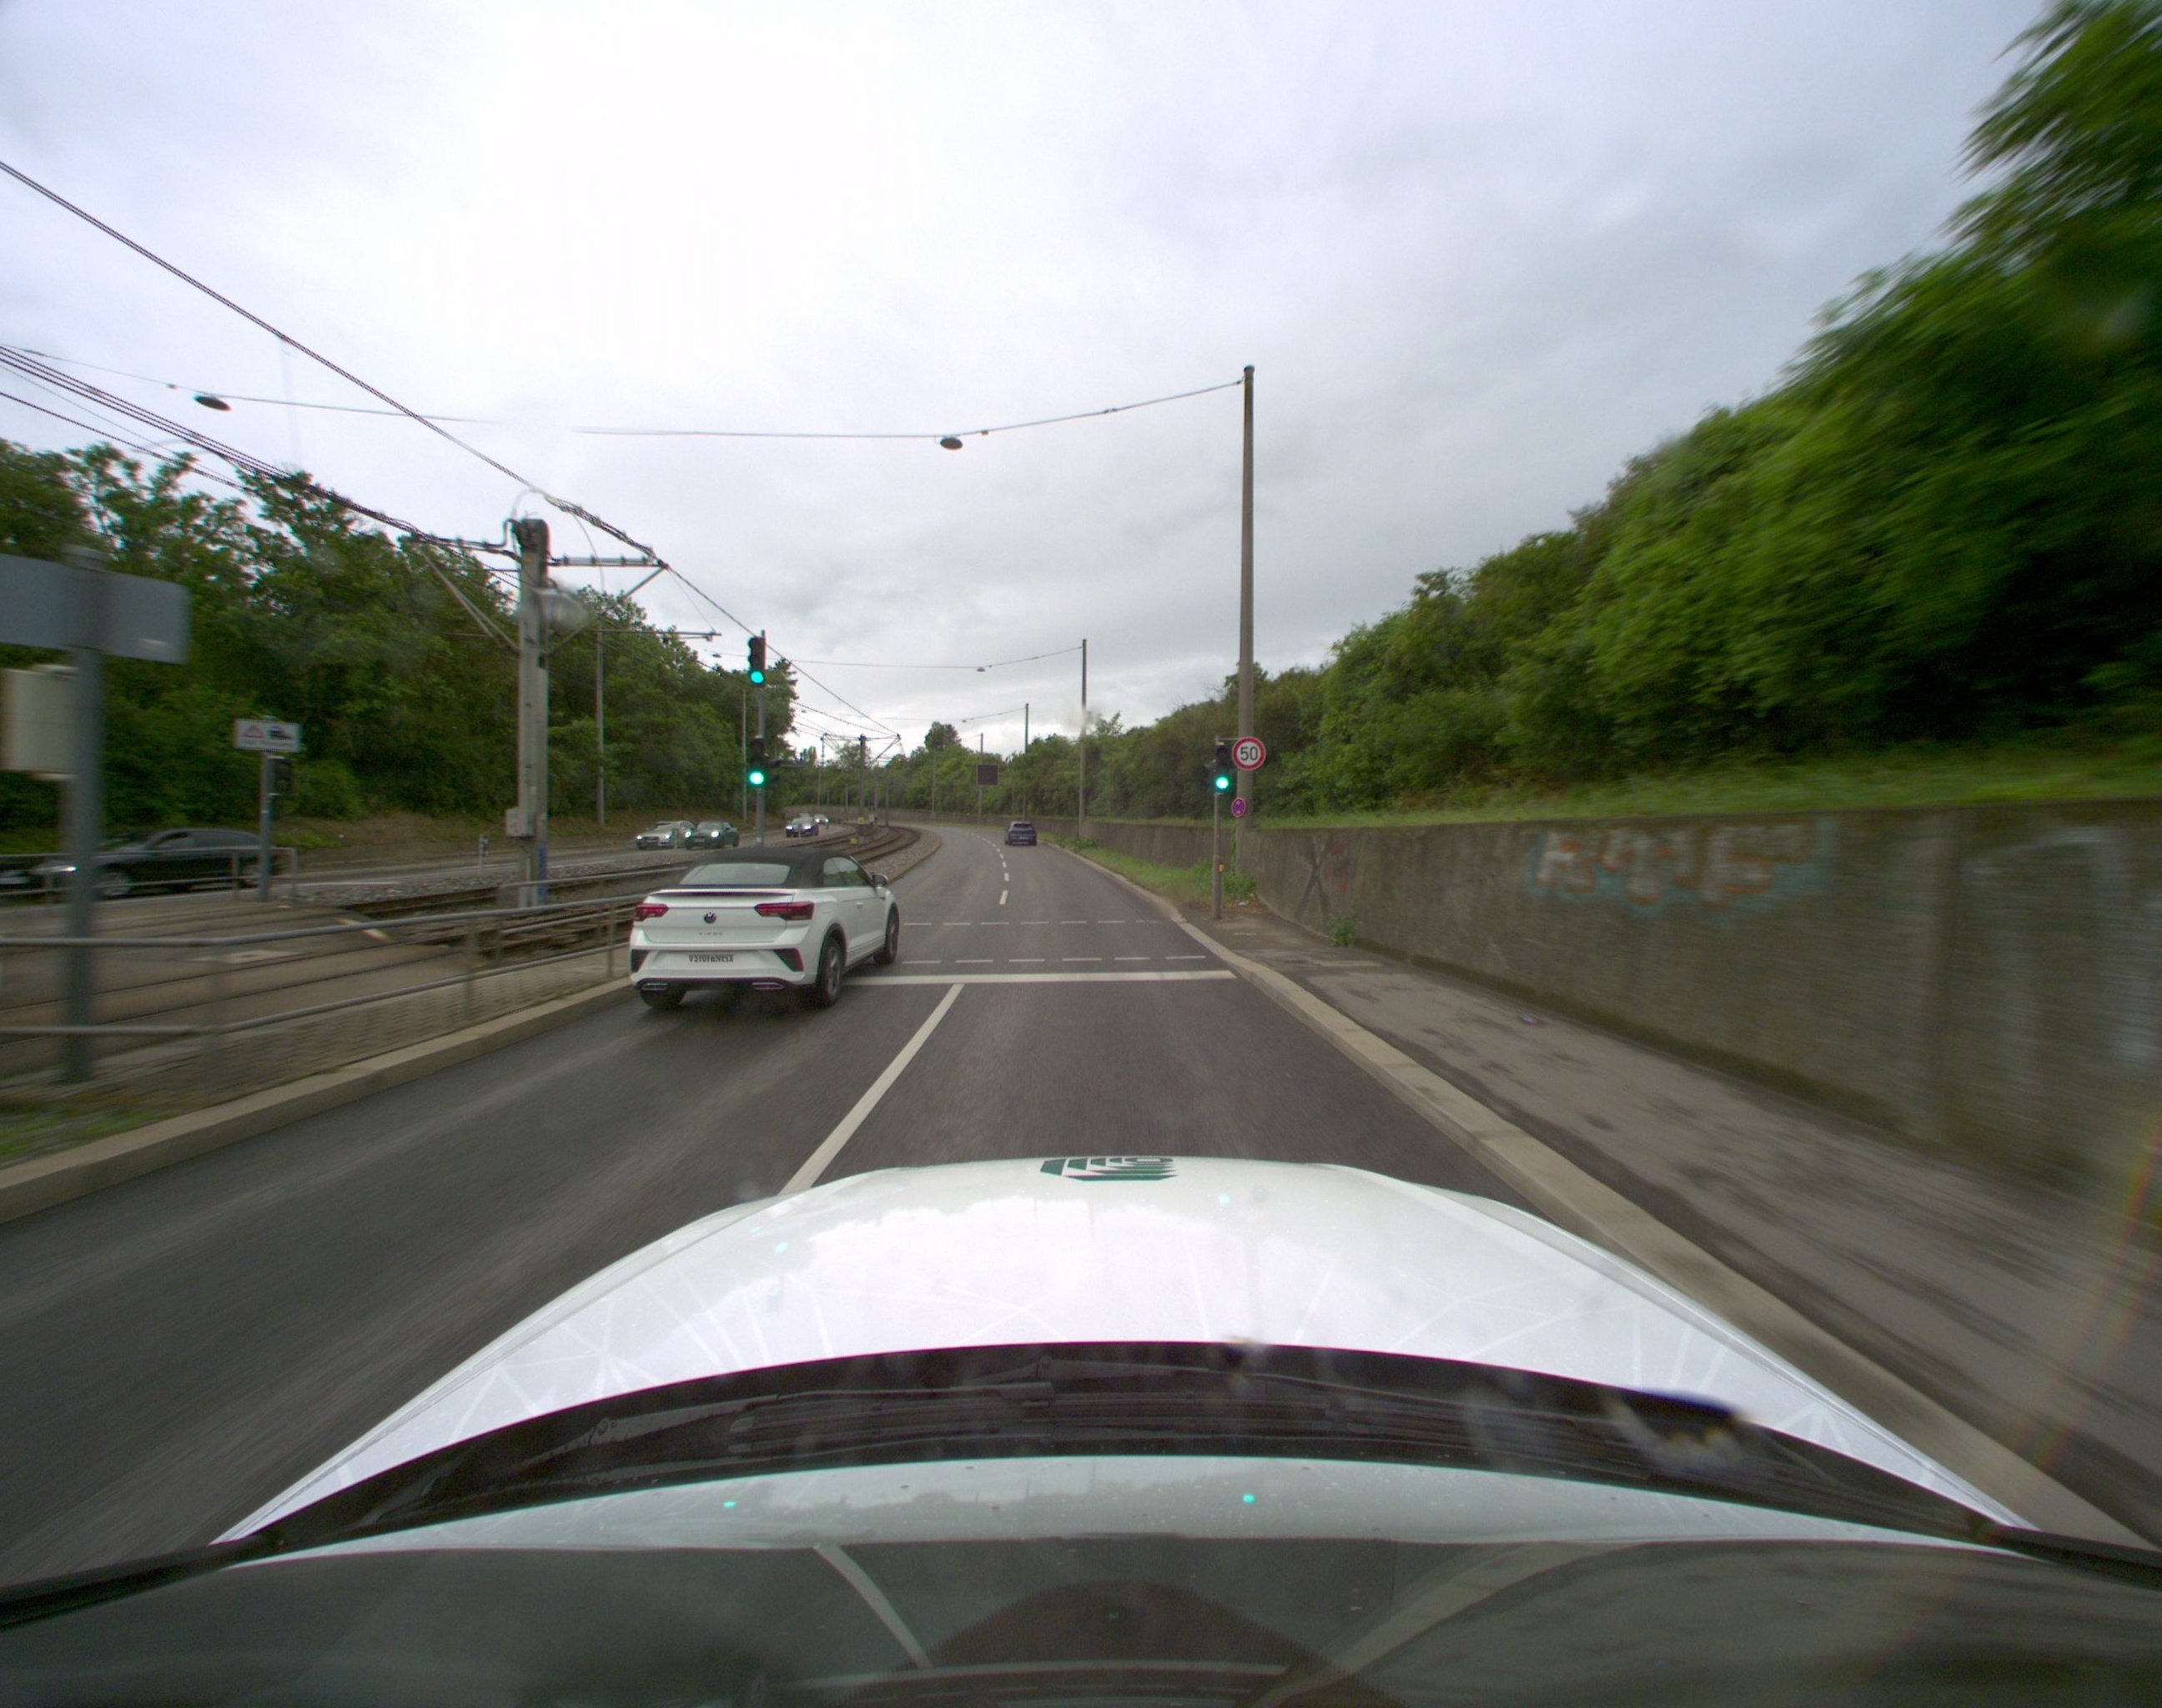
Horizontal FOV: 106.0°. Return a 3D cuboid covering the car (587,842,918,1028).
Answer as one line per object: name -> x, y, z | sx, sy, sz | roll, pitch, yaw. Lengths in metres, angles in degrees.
car -> -3.275, 0.666, 9.275 | 1.865, 1.524, 4.540 | -1, 1, 0

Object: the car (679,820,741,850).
car -> -18.597, -0.990, 41.020 | 1.631, 1.384, 3.887 | -2, 2, -6

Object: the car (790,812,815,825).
car -> -36.606, -4.694, 107.013 | 1.797, 1.669, 4.689 | -1, 3, -35

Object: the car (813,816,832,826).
car -> -37.102, -4.712, 116.713 | 1.717, 1.414, 3.993 | -1, 3, -32

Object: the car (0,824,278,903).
car -> -20.006, 0.125, 17.319 | 1.712, 1.458, 4.271 | -1, 1, -3

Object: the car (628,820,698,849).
car -> -21.662, -1.048, 42.405 | 1.819, 1.379, 4.692 | -1, 3, -9

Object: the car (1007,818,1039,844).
car -> -3.642, -1.473, 50.710 | 1.762, 1.501, 3.991 | 1, 2, -7

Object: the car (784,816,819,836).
car -> -21.498, -2.218, 62.812 | 1.862, 1.438, 4.838 | -2, 3, -11
